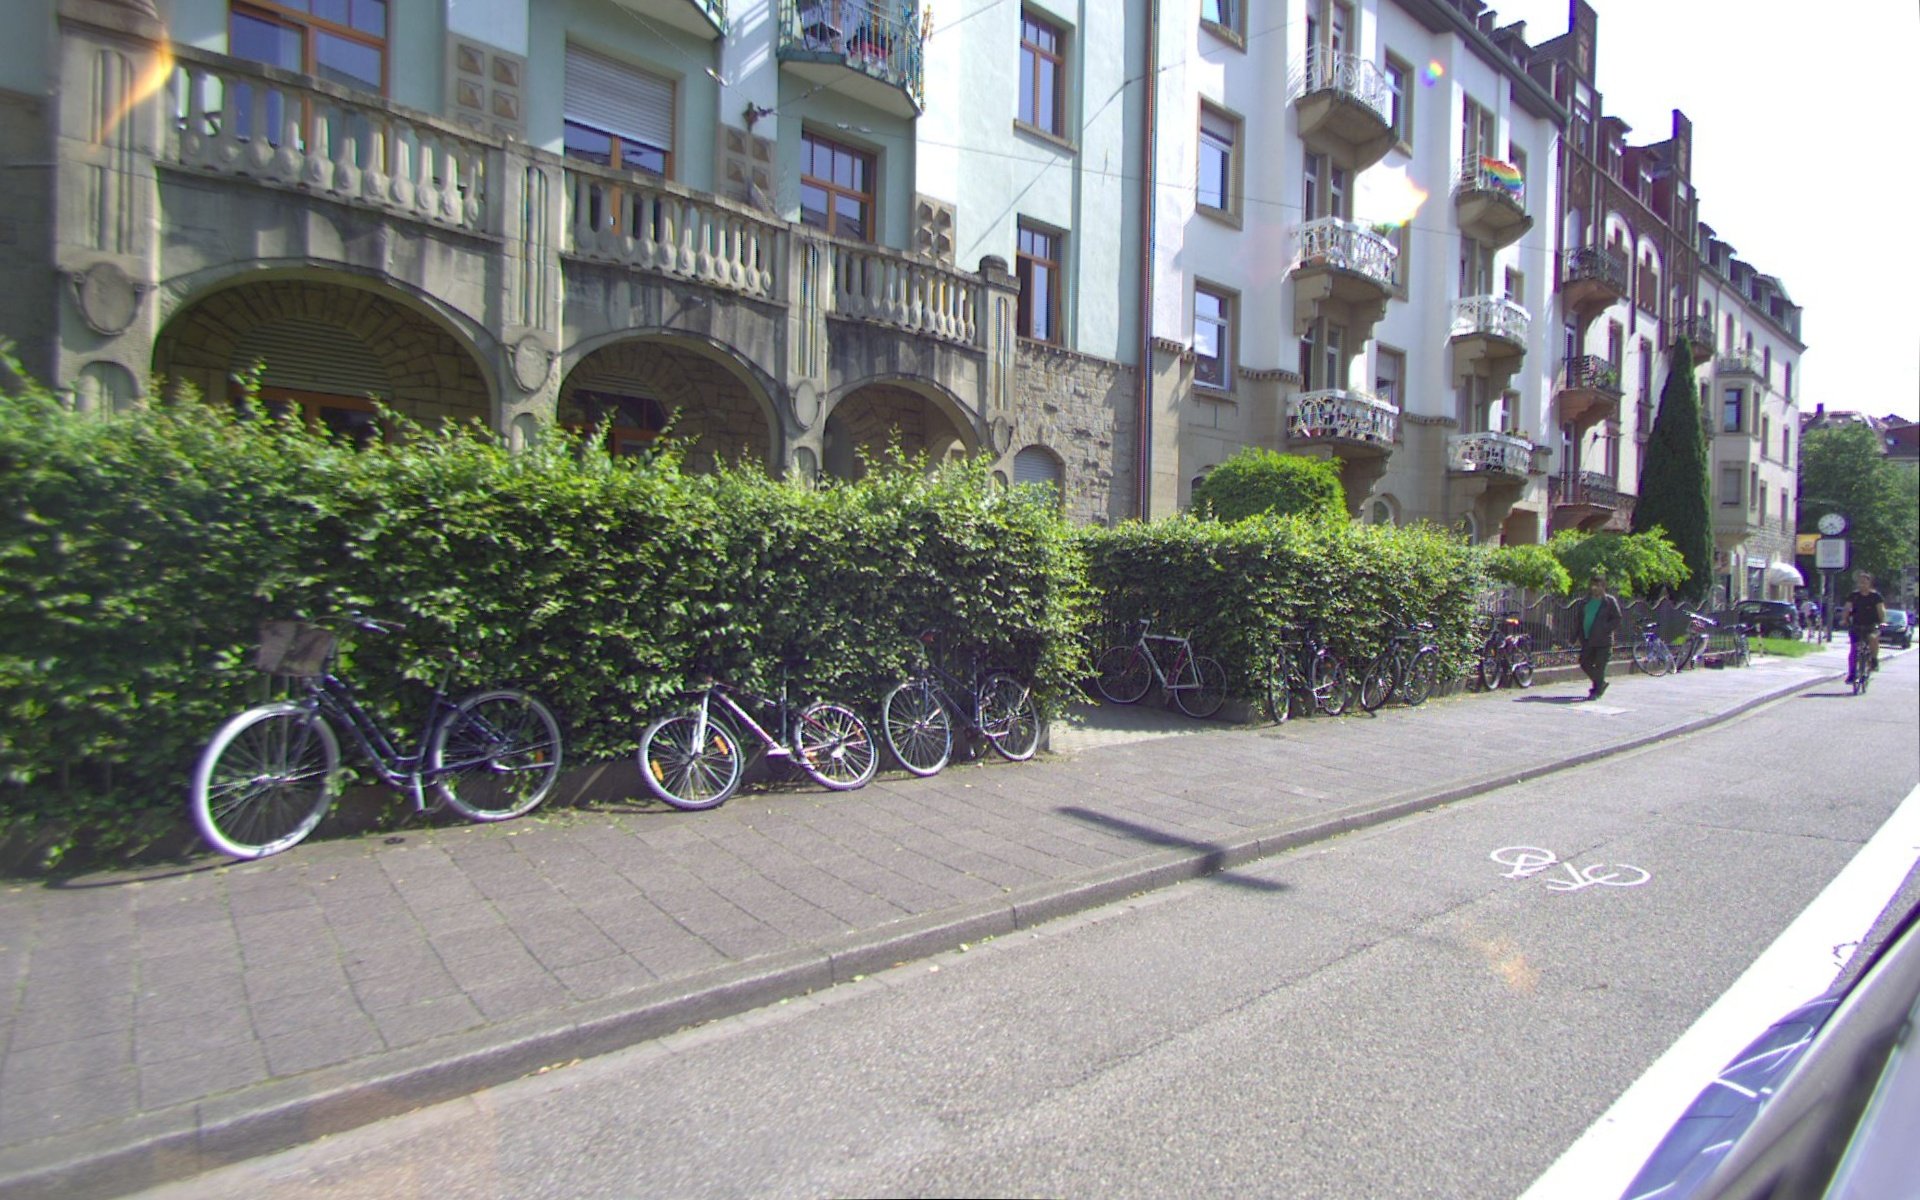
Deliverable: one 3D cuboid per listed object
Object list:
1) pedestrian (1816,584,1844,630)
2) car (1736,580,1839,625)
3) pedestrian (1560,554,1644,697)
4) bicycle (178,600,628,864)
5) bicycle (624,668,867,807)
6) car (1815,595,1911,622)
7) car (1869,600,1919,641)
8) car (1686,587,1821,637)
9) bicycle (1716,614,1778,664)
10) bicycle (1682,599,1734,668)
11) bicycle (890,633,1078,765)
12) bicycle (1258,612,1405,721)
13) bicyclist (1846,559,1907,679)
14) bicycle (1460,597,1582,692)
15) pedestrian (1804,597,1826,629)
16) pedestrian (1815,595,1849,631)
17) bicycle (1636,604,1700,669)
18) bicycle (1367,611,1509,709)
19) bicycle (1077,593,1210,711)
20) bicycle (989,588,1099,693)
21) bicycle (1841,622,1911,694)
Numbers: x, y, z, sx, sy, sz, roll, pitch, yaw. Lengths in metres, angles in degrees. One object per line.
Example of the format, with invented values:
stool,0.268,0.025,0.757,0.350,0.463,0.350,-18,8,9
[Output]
pedestrian,37.313,0.292,43.395,0.659,1.862,0.860,10,7,41
car,55.212,0.132,67.745,2.354,2.829,6.655,1,1,10
pedestrian,8.856,0.328,13.964,0.788,1.884,0.571,5,3,43
bicycle,-2.720,0.578,5.142,1.975,1.122,0.280,0,4,-41
bicycle,-1.305,0.825,6.374,1.532,0.685,0.280,0,4,-41
car,53.071,0.503,59.599,1.854,1.436,4.005,1,1,-5
car,38.226,0.815,41.161,2.747,1.517,1.516,0,3,-43
car,28.416,0.405,36.314,1.936,1.542,3.412,0,3,-38
bicycle,17.685,0.841,22.715,3.015,0.972,0.600,0,4,-44
bicycle,14.748,0.638,19.929,1.813,1.276,0.451,1,3,-44
bicycle,0.224,0.734,7.859,1.638,0.918,0.274,2,3,-41
bicycle,3.948,0.659,10.683,1.839,1.001,0.613,0,3,-41
bicyclist,15.669,0.308,17.297,1.110,1.973,0.608,0,-1,-41
bicycle,8.147,0.593,14.652,2.472,1.246,0.741,0,1,-41
pedestrian,36.967,0.562,43.756,0.570,1.341,0.436,8,5,42
pedestrian,47.163,0.688,54.741,0.834,1.787,1.015,2,9,-39
bicycle,13.084,0.658,18.687,1.811,1.136,0.452,1,3,-40
bicycle,5.782,0.672,12.164,2.321,1.008,0.612,0,4,-41
bicycle,1.990,0.533,11.146,0.350,1.128,1.512,0,4,-40
bicycle,0.991,0.456,12.323,0.350,1.128,1.513,0,3,-39
bicycle,15.629,0.962,17.257,1.804,1.057,0.617,-2,5,-41
